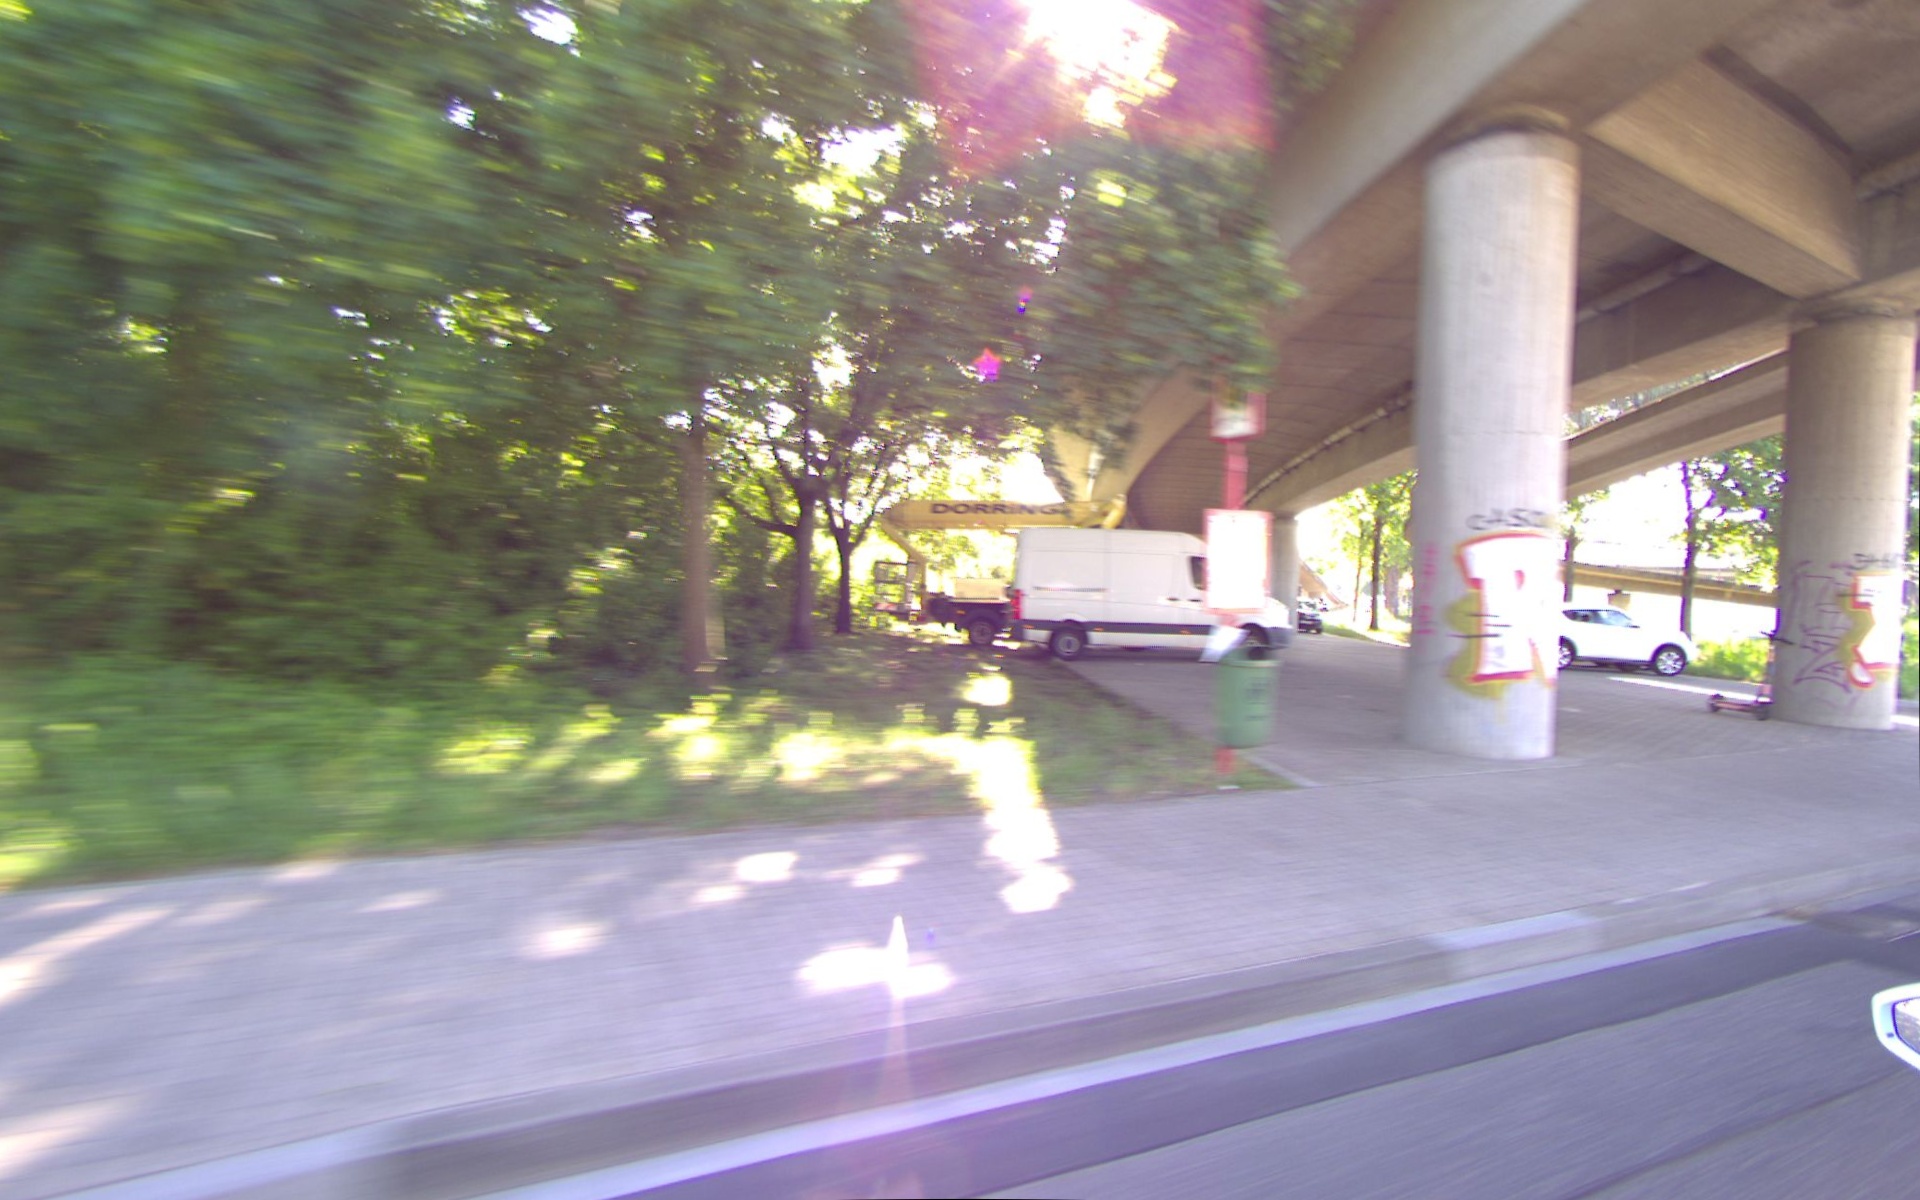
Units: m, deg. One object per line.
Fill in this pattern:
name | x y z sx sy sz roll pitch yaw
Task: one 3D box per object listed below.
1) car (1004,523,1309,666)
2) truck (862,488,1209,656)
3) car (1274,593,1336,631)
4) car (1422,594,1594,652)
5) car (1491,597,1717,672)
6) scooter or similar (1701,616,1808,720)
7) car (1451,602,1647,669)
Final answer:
car | 3.914 -0.112 20.749 5.890 2.717 1.946 1 1 0
truck | 1.789 -0.688 24.165 7.806 3.599 2.484 2 1 6
car | 15.144 0.493 44.313 1.649 1.573 4.300 2 0 6
car | 16.465 0.657 30.301 4.213 1.573 1.683 2 1 1
car | 15.409 0.835 24.237 4.195 1.663 1.871 1 -2 5
scooter or similar | 10.909 0.906 13.839 0.567 1.318 1.310 2 1 11
car | 15.659 0.923 26.860 4.213 1.573 1.683 2 1 1
